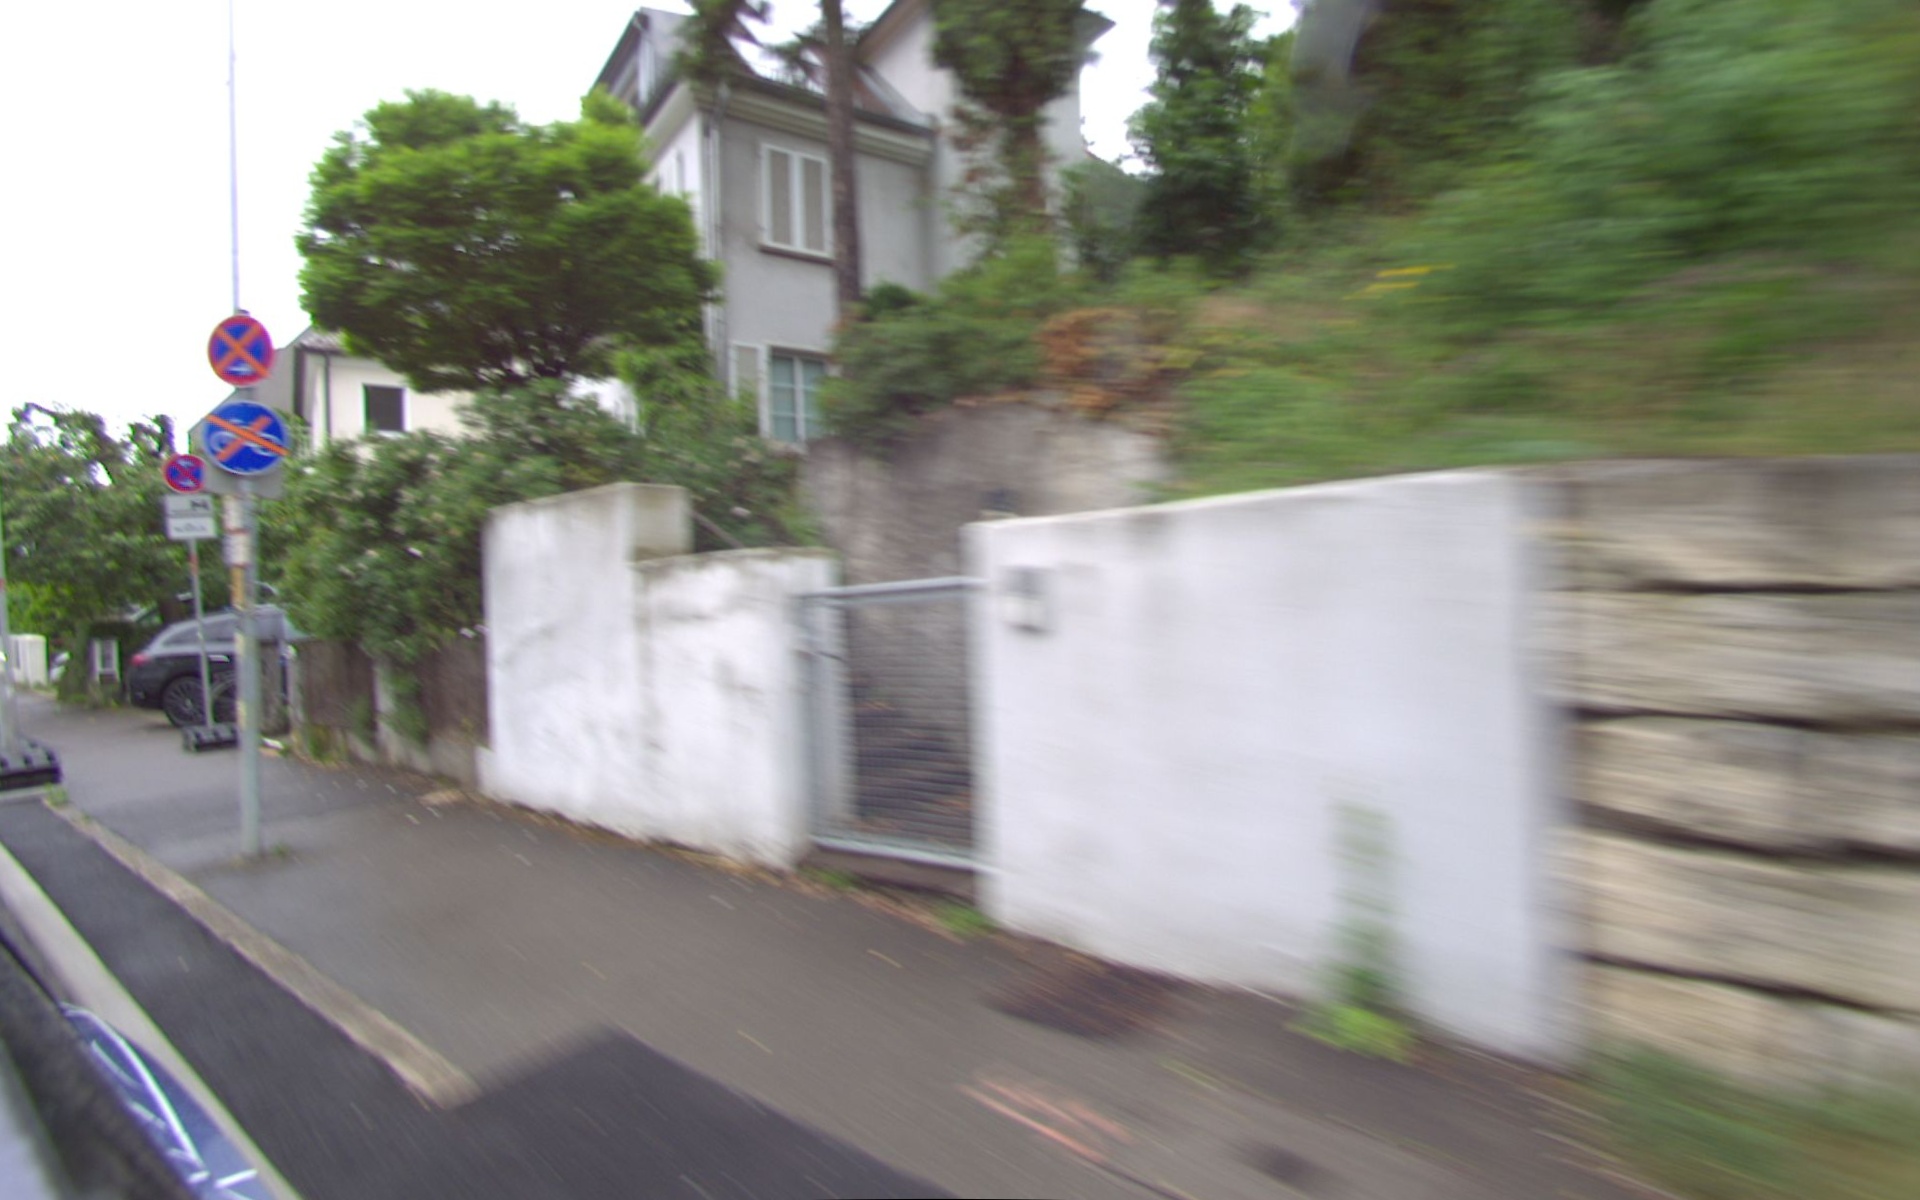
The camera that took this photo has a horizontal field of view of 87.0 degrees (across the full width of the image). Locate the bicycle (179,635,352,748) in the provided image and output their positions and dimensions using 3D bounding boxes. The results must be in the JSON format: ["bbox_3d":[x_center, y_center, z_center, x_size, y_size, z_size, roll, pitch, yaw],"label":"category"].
[{"bbox_3d":[-8.018,1.025,11.730,1.597,1.139,0.444,-2,1,-36],"label":"bicycle"}]

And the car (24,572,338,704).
[{"bbox_3d":[-16.322,0.715,21.512,4.907,1.627,1.867,-15,7,-38],"label":"car"}]

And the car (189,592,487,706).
[{"bbox_3d":[-10.204,0.711,16.729,3.937,1.537,1.944,-3,1,-40],"label":"car"}]

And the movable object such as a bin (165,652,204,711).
[{"bbox_3d":[-13.070,1.367,17.059,0.498,0.938,0.506,-1,0,-36],"label":"movable object such as a bin"}]

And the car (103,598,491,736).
[{"bbox_3d":[-8.647,0.830,13.473,3.942,1.537,1.787,-2,1,-2],"label":"car"}]
